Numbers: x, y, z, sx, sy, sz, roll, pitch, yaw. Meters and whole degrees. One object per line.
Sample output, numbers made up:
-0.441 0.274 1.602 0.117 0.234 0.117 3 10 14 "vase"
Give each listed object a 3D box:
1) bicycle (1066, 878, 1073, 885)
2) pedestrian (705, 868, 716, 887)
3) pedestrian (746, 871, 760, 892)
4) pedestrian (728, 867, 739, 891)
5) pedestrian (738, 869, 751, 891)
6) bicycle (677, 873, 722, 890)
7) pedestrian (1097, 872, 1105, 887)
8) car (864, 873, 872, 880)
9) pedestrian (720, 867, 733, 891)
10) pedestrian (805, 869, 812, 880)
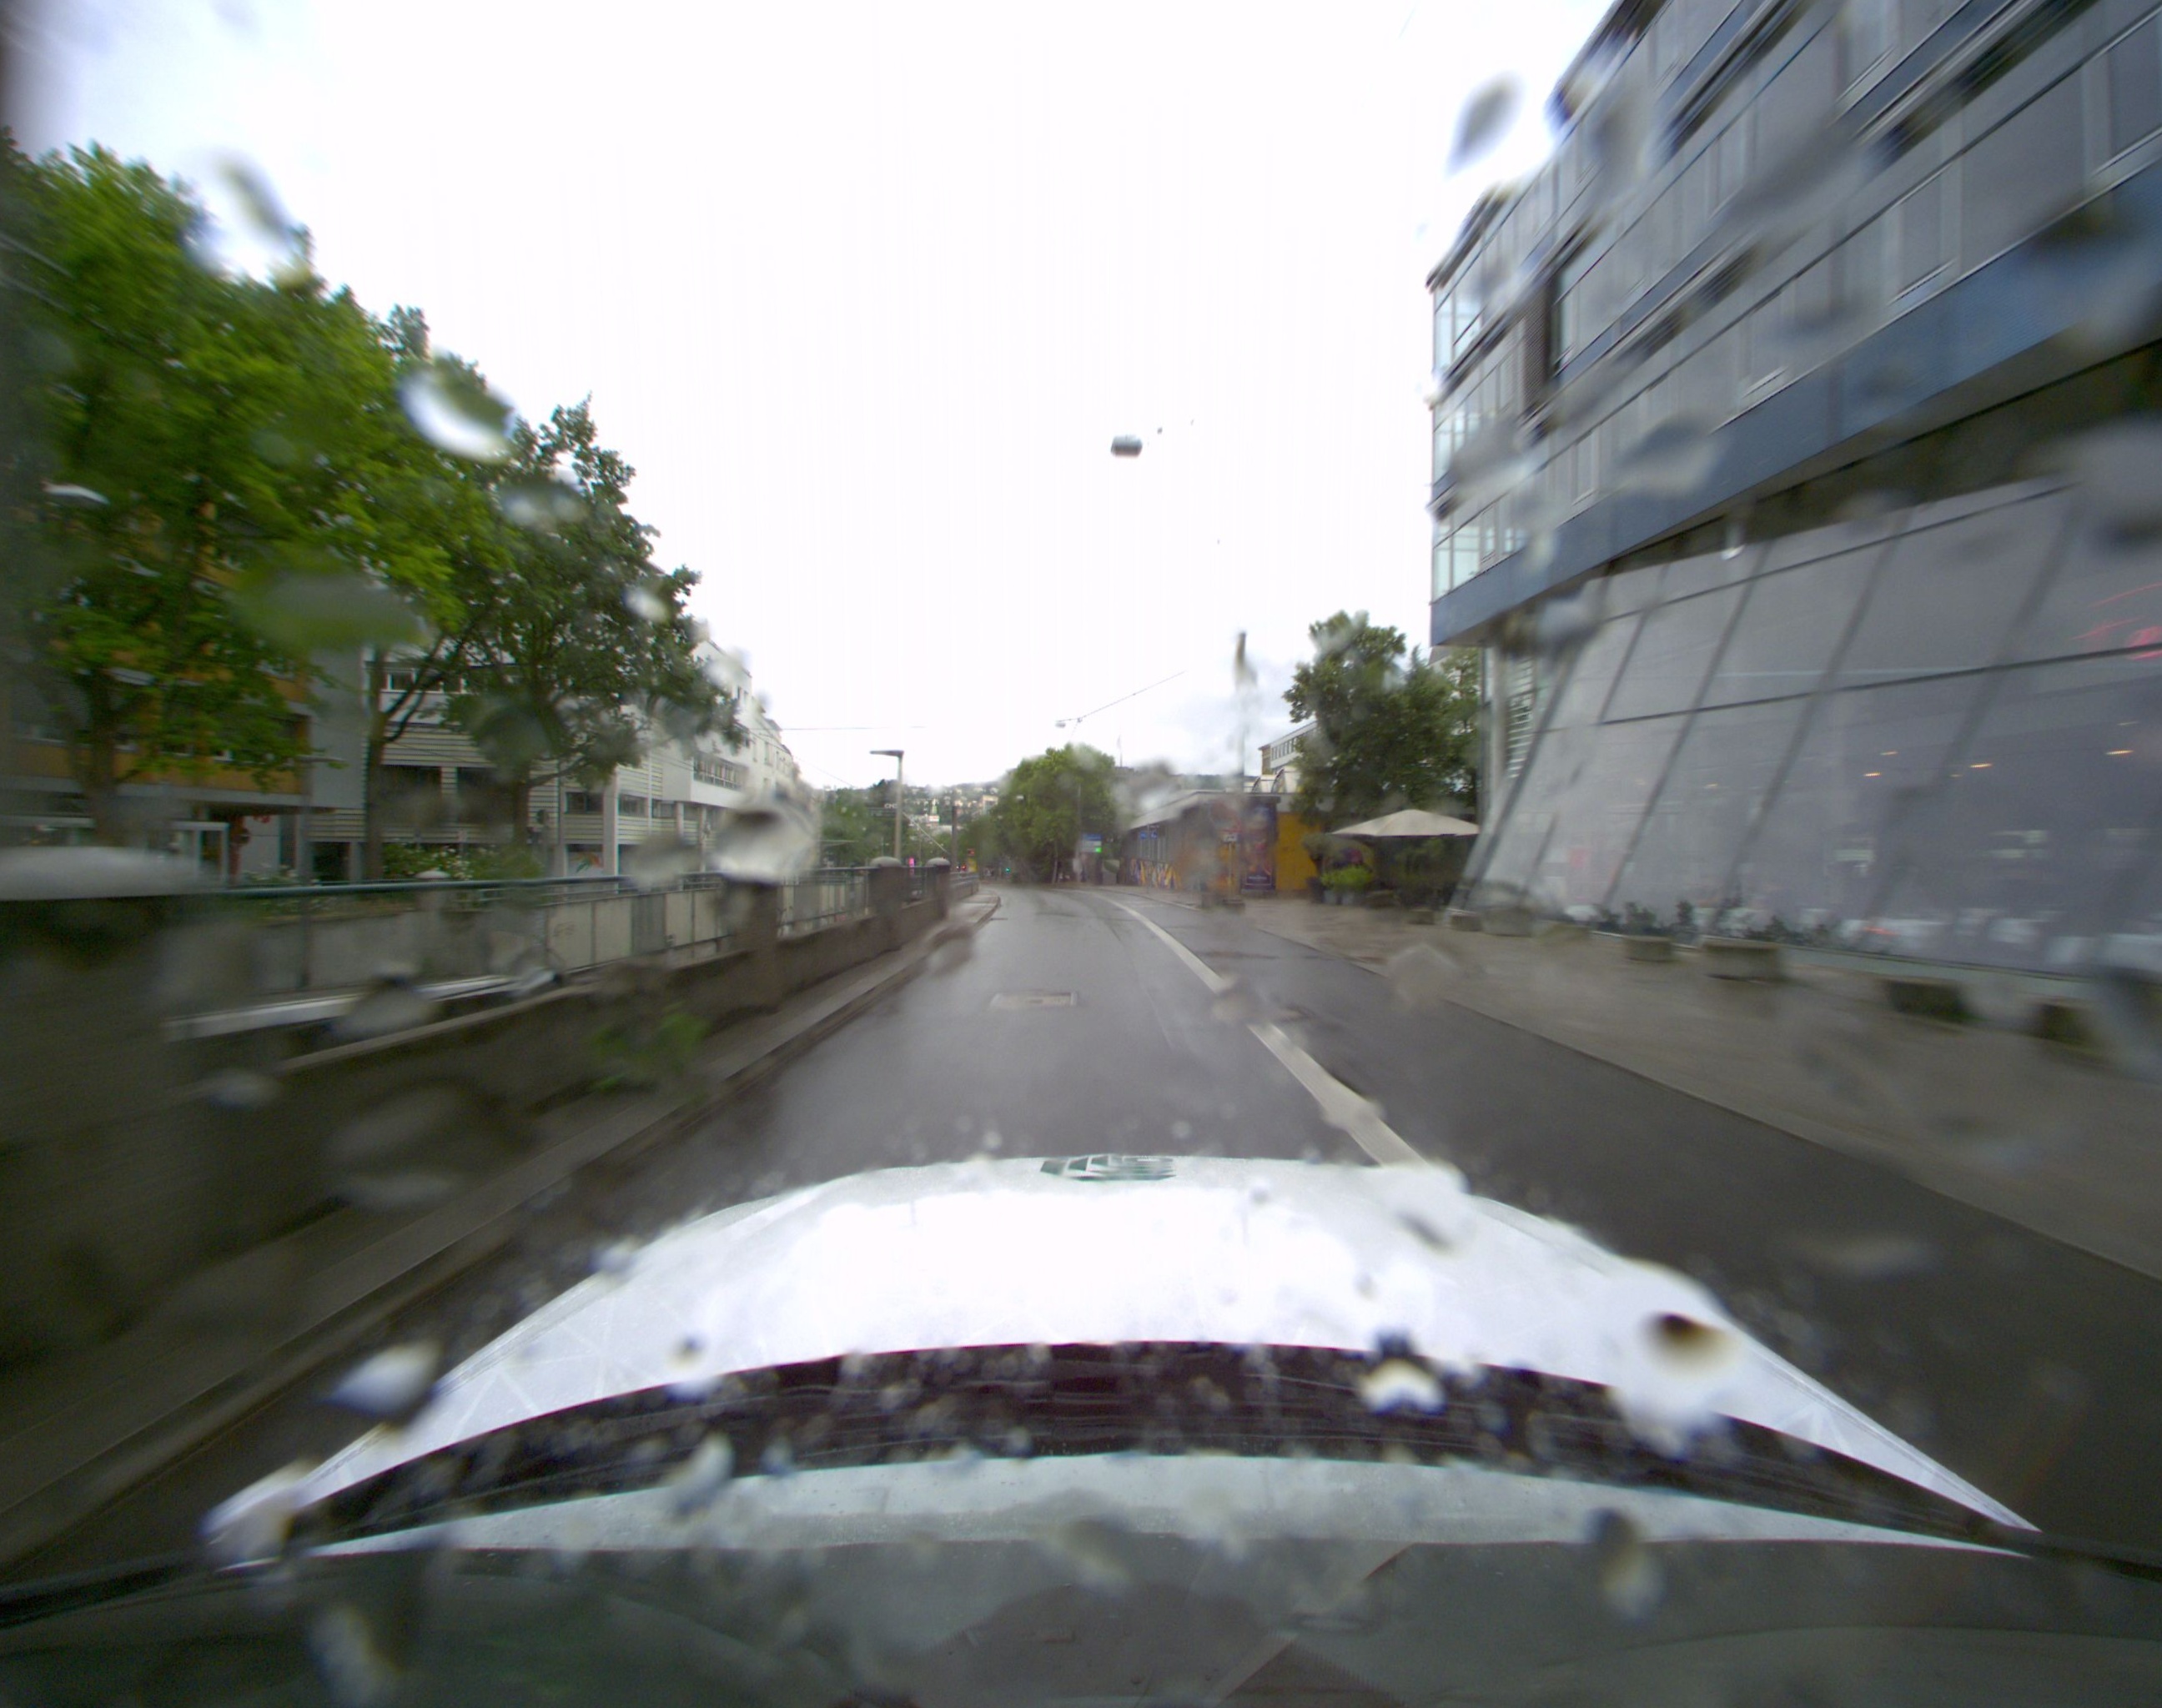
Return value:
-1.739 4.178 123.836 0.805 1.112 2.193 0 -2 -6 "bicycle"
-29.035 1.846 63.804 0.607 1.419 0.671 0 -2 -9 "pedestrian"
-25.661 2.133 63.679 0.785 1.643 0.678 -1 -2 32 "pedestrian"
-26.679 1.913 62.511 0.675 1.785 0.933 1 -2 -28 "pedestrian"
-26.637 2.029 64.440 0.601 1.722 0.678 -1 -2 37 "pedestrian"
-27.069 1.934 57.898 1.692 1.044 4.507 2 -2 -9 "bicycle"
2.511 3.166 100.812 0.805 1.864 1.054 -1 -2 -4 "pedestrian"
-51.722 5.361 197.373 1.783 1.555 3.875 1 0 -14 "car"
-24.285 1.706 55.783 0.675 1.616 0.933 1 -2 -28 "pedestrian"
-46.635 3.451 139.328 0.860 1.868 0.961 0 -2 5 "pedestrian"
